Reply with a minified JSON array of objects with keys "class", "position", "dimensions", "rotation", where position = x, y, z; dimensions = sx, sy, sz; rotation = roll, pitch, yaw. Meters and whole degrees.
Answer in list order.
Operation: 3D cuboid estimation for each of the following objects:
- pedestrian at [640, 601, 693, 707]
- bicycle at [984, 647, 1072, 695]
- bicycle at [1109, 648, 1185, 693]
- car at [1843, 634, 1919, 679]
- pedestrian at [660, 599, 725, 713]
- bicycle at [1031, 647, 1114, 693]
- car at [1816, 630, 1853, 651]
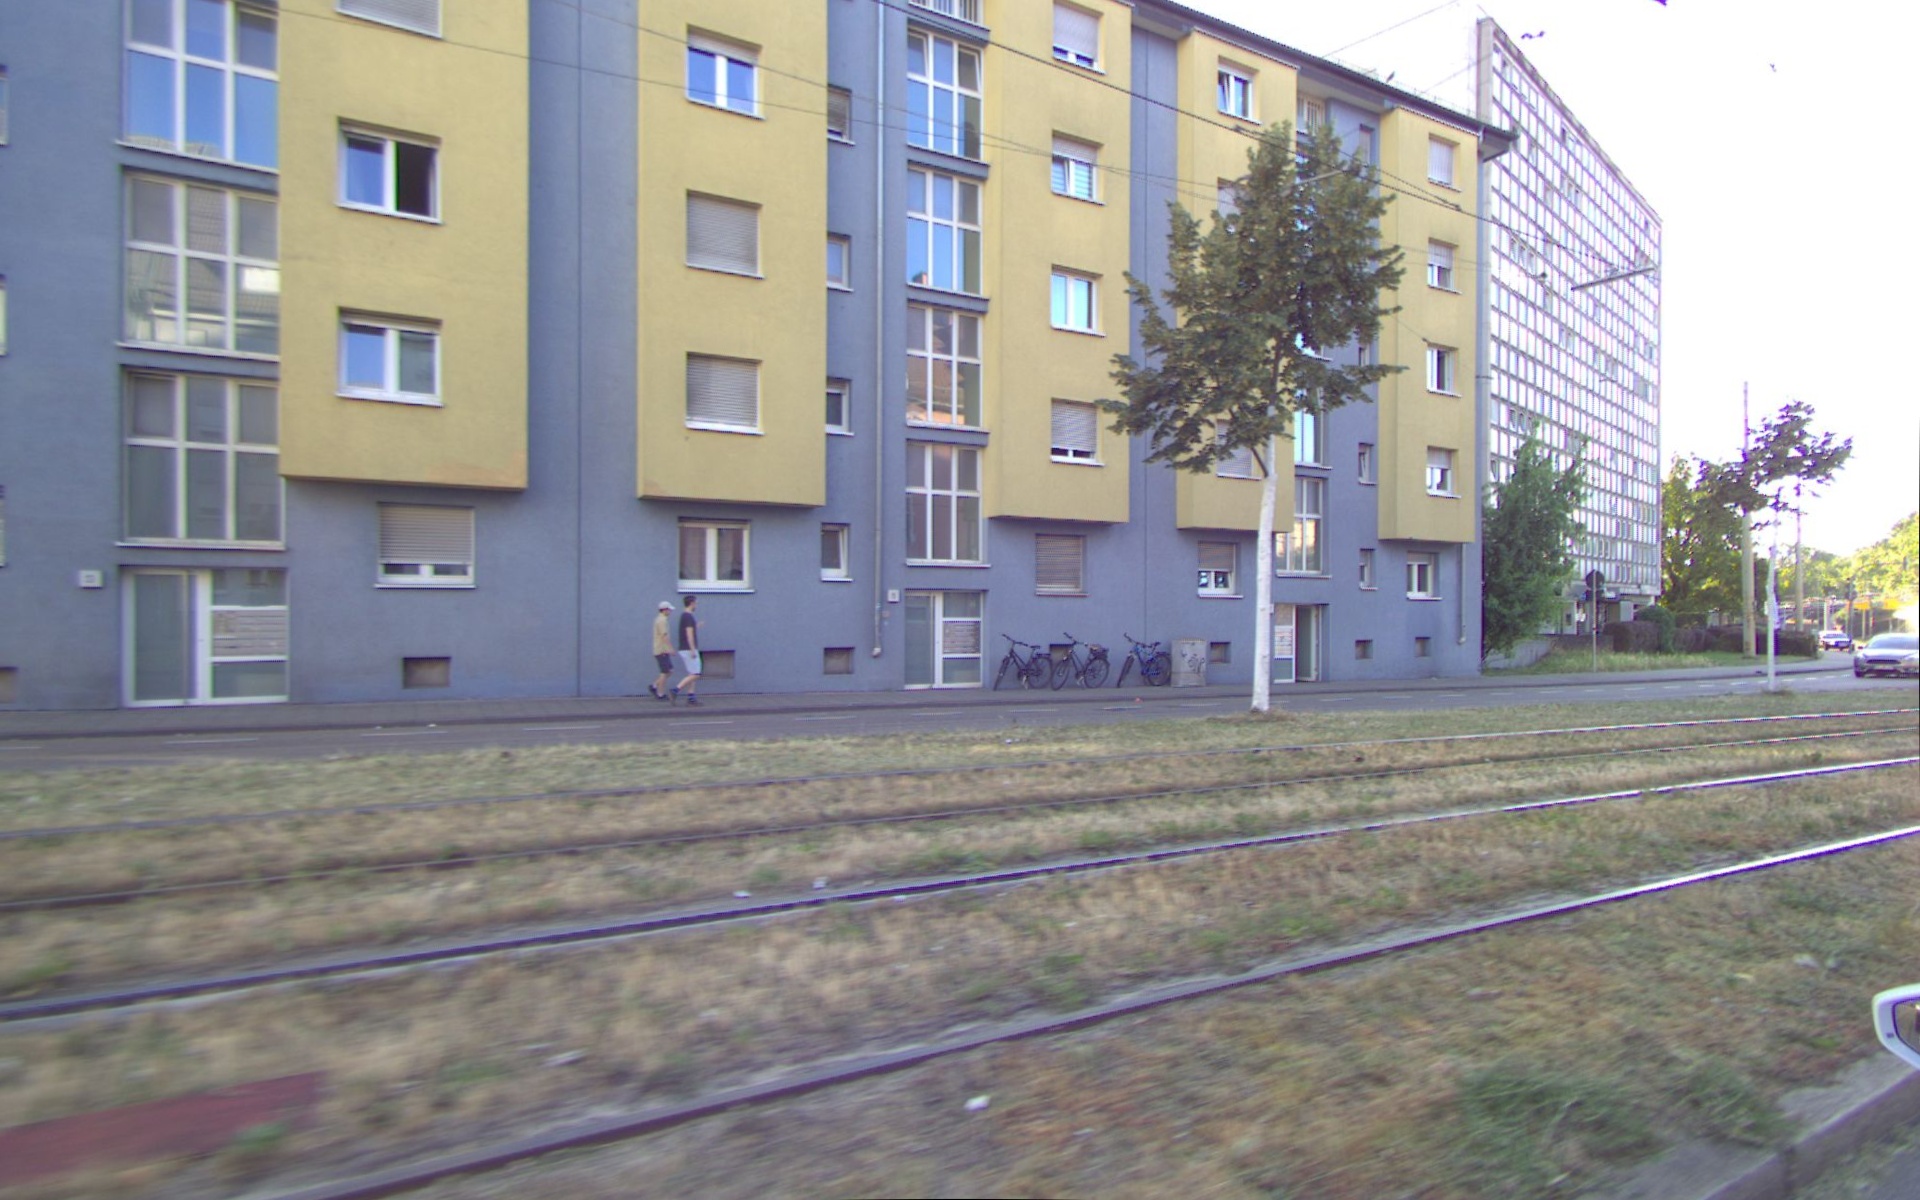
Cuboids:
[{"class":"pedestrian","position":[-4.988,0.902,17.053],"dimensions":[0.698,1.717,0.613],"rotation":[0,4,-31]},{"class":"bicycle","position":[1.446,1.485,21.145],"dimensions":[1.889,0.937,0.425],"rotation":[1,2,-30]},{"class":"bicycle","position":[4.284,1.603,22.944],"dimensions":[1.889,0.972,0.425],"rotation":[1,-1,-30]},{"class":"car","position":[32.688,1.966,35.092],"dimensions":[4.270,1.479,1.688],"rotation":[2,-3,-33]},{"class":"pedestrian","position":[-4.423,0.908,16.607],"dimensions":[0.875,1.797,0.590],"rotation":[0,3,-31]},{"class":"bicycle","position":[2.461,1.512,21.906],"dimensions":[1.889,0.937,0.425],"rotation":[1,2,-30]},{"class":"car","position":[67.855,3.132,77.996],"dimensions":[1.753,1.501,4.385],"rotation":[0,-2,35]}]
